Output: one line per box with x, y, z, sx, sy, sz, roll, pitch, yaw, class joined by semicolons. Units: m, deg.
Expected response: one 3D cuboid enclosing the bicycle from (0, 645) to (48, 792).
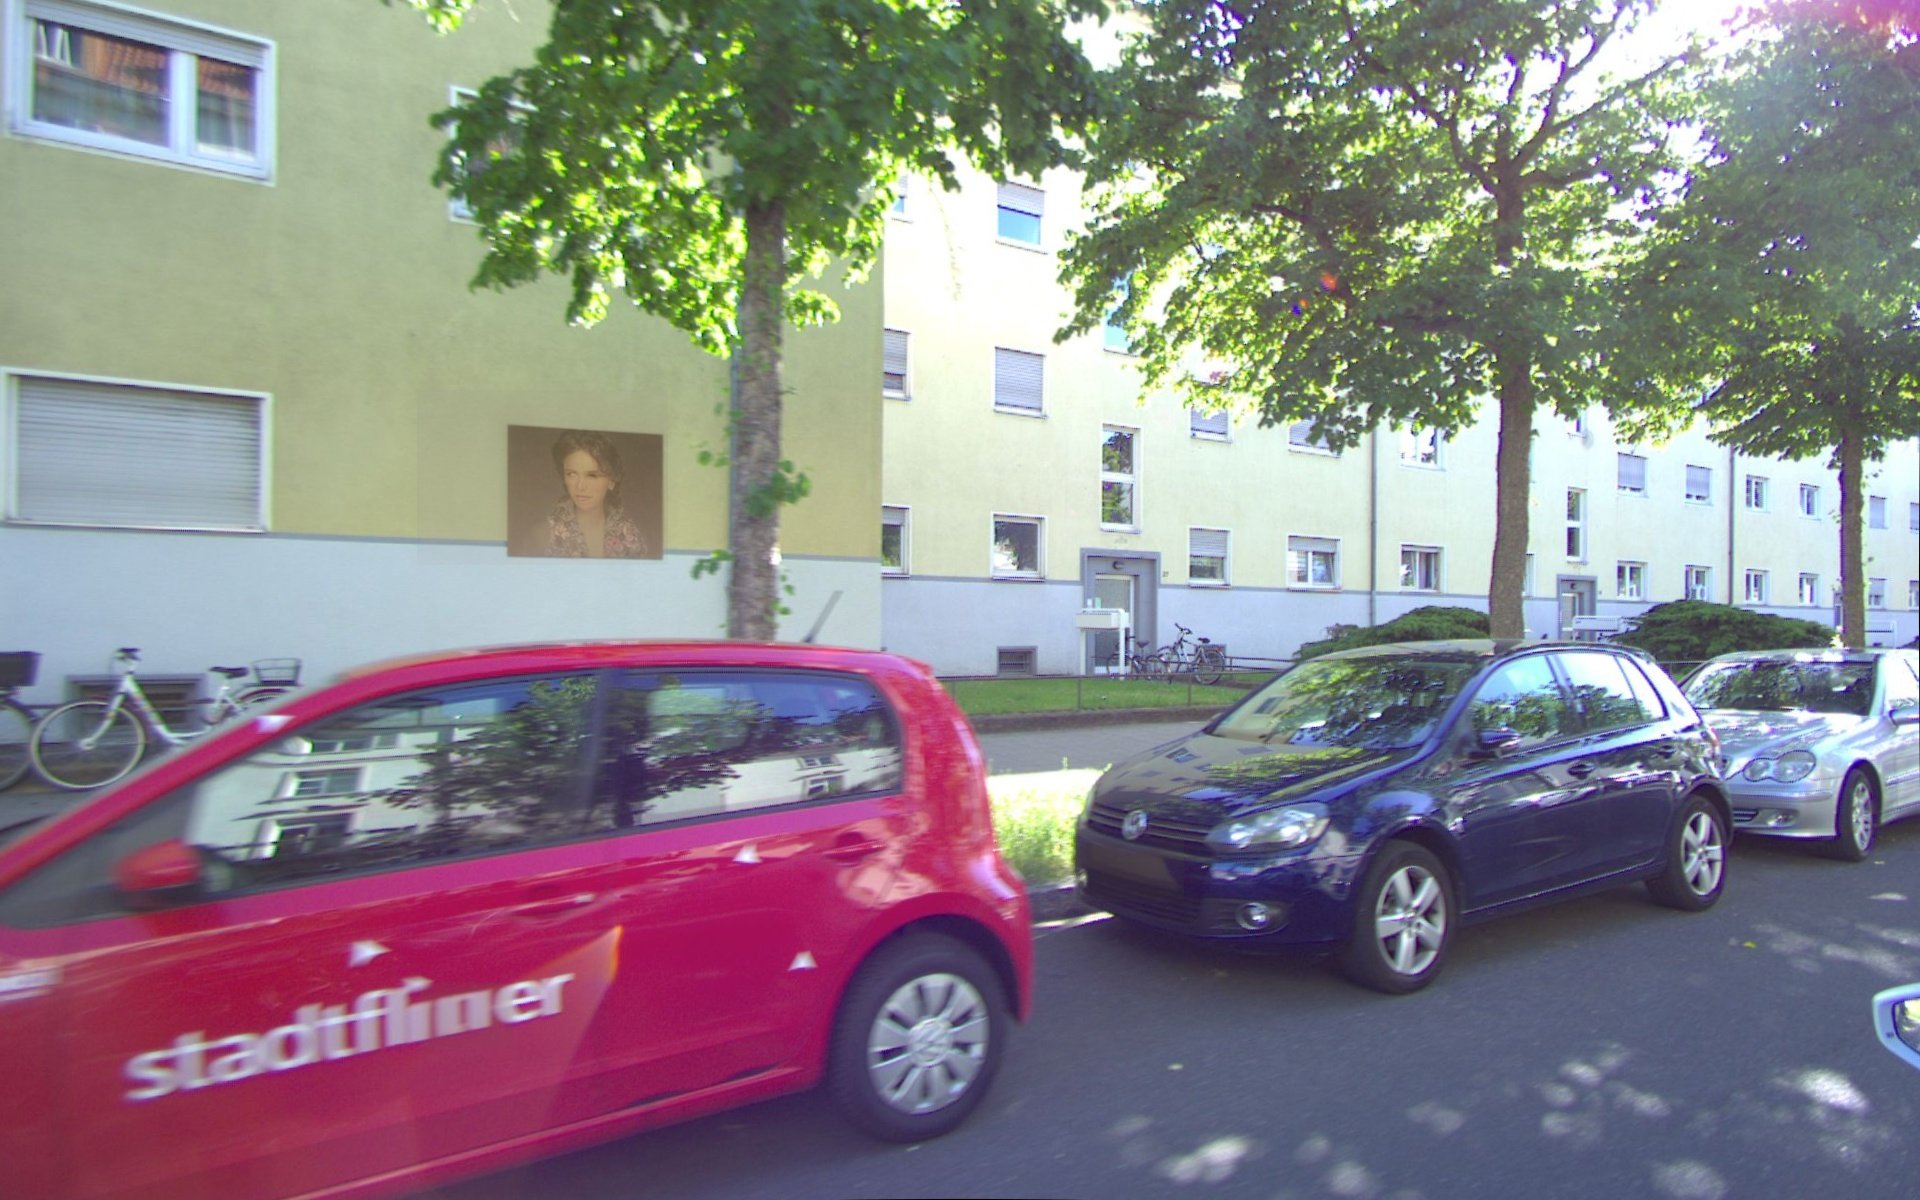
-7.674;0.848;7.089;1.726;1.040;0.538;1;-1;-29;bicycle

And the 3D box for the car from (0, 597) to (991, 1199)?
-1.705;0.766;2.934;3.217;1.505;1.657;1;-1;-30;car

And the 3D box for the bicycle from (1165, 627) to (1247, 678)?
4.793;1.010;19.638;0.477;0.943;1.620;1;-1;-37;bicycle

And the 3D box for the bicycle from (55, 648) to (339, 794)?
-6.027;0.923;8.054;1.726;1.040;0.533;1;-1;-28;bicycle

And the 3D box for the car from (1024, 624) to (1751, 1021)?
2.419;0.879;5.477;3.885;1.478;1.657;1;-1;-30;car

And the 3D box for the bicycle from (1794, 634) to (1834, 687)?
18.917;1.313;22.270;0.479;1.095;1.839;3;1;36;bicycle

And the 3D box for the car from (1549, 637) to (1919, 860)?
7.053;1.011;8.278;4.618;1.387;1.738;1;-2;-30;car

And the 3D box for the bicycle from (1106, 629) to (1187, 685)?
3.339;1.002;18.081;0.476;0.943;1.623;1;-1;-32;bicycle

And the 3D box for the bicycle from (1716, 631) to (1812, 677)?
20.253;1.353;25.338;0.481;1.095;1.829;1;-1;-32;bicycle

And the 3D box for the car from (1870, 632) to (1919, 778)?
12.128;1.118;11.221;4.217;1.535;1.614;1;-3;-29;car

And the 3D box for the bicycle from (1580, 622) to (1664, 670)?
17.541;1.206;26.646;0.480;1.161;1.833;2;1;-26;bicycle
